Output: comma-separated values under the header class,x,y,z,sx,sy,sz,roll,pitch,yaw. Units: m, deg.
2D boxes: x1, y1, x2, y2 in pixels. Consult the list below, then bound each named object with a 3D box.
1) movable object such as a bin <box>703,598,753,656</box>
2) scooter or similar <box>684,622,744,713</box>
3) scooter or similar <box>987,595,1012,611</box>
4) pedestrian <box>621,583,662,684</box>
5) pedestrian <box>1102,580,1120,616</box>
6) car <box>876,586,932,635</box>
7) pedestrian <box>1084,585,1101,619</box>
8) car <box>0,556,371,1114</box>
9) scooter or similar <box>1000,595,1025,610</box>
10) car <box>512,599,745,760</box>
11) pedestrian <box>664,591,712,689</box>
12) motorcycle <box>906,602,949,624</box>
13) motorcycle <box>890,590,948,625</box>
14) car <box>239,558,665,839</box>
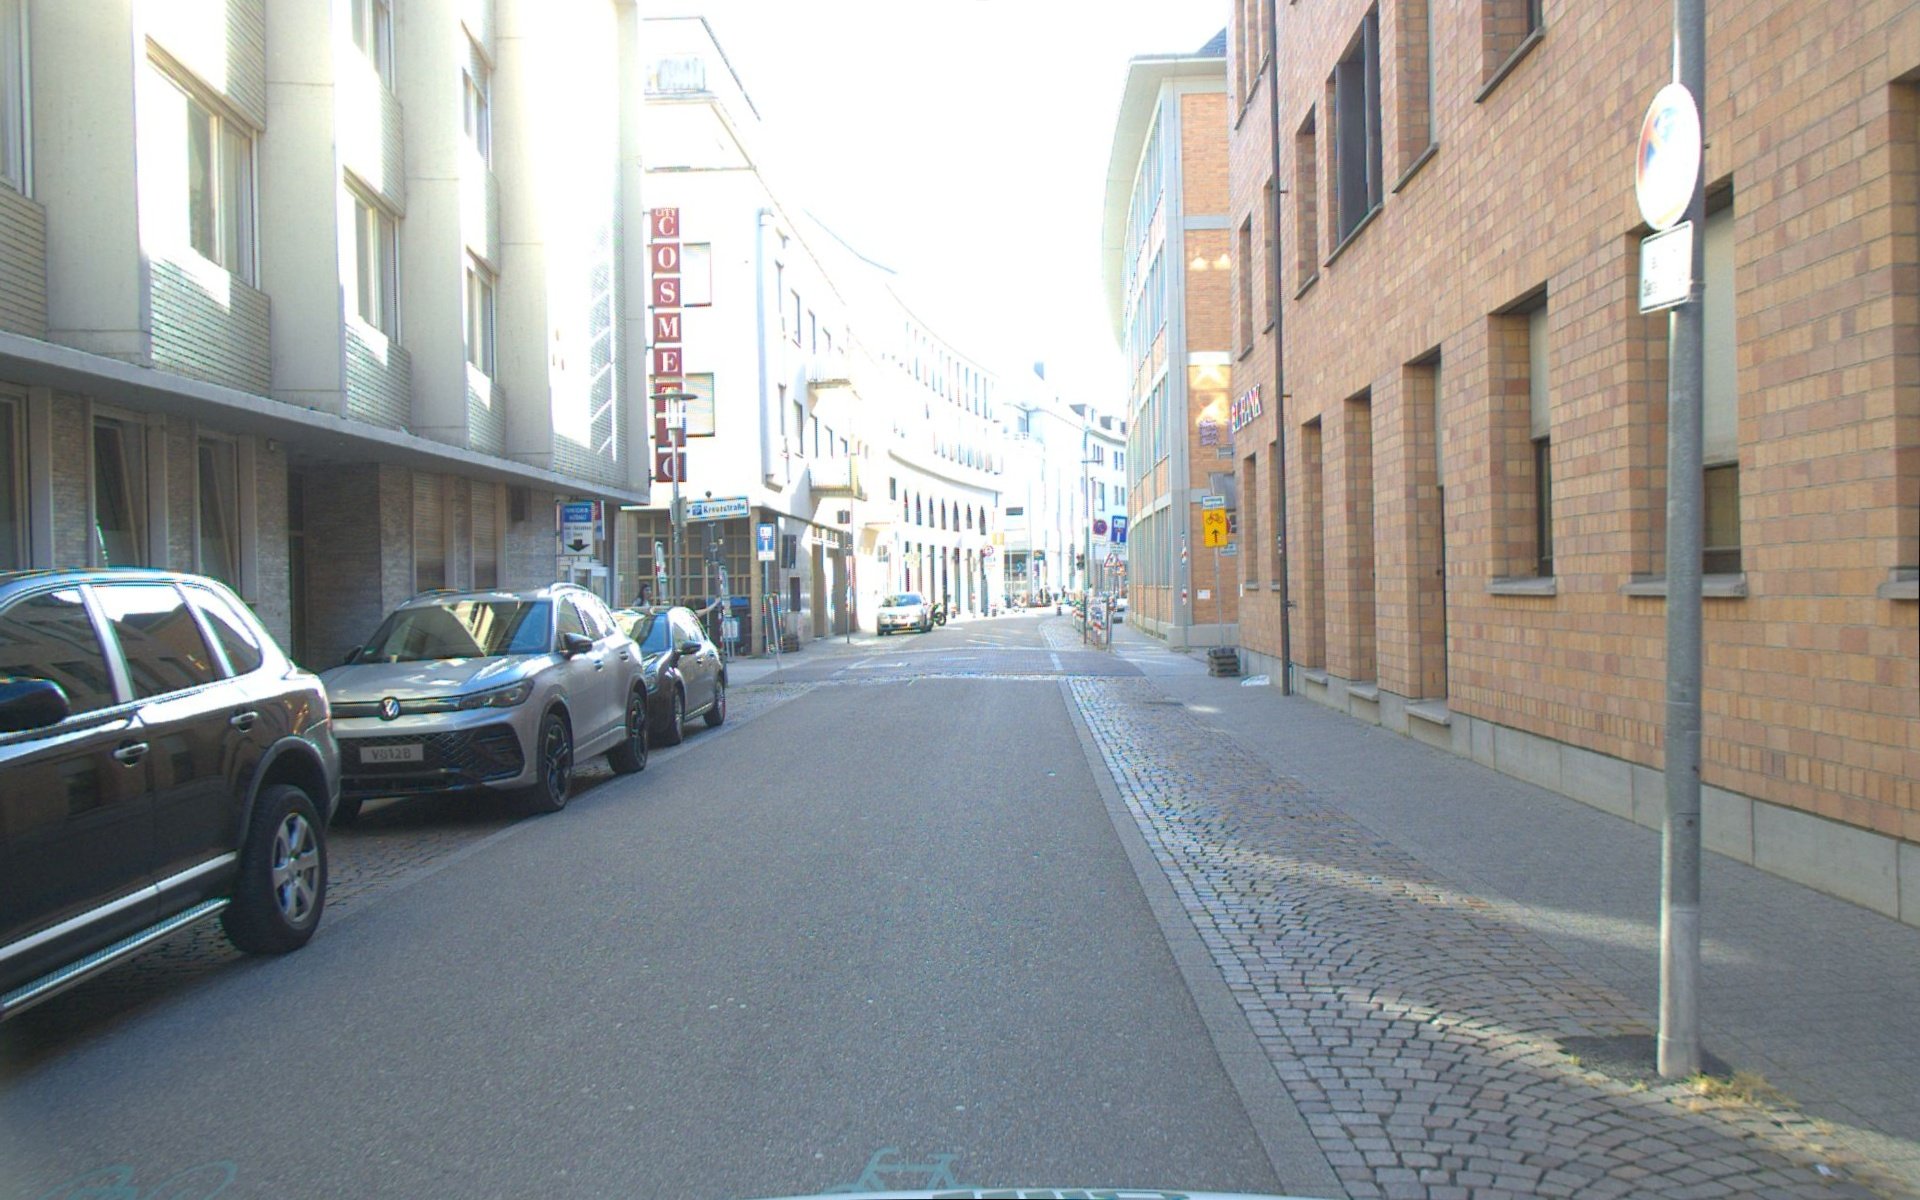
class,x,y,z,sx,sy,sz,roll,pitch,yaw
movable object such as a bin,-5.862,0.663,41.780,0.927,1.444,0.870,1,-1,-45
scooter or similar,-3.492,0.946,23.392,0.408,1.218,1.111,-6,1,-26
scooter or similar,2.423,0.174,101.322,0.515,0.944,2.222,0,1,32
pedestrian,-5.655,0.594,29.416,0.438,1.769,0.552,-1,0,25
pedestrian,7.879,-0.107,86.456,0.652,1.901,0.754,0,-1,-28
car,-1.959,0.356,58.711,1.700,1.634,3.534,-1,1,3
pedestrian,7.368,0.113,91.905,0.652,1.901,0.779,0,-1,-28
car,-3.864,0.745,5.722,1.851,1.705,4.555,-2,1,2
scooter or similar,3.343,0.144,104.696,0.515,0.944,2.222,0,1,32
car,-3.628,0.813,18.816,1.614,1.486,4.000,-4,0,2
pedestrian,-4.696,0.685,28.558,0.641,1.654,0.451,-2,0,-40
motorcycle,-1.295,0.508,66.251,1.655,0.874,0.595,0,0,7
motorcycle,-1.733,0.310,70.059,2.341,1.340,0.862,-3,0,2
car,-3.729,0.619,13.059,1.851,1.772,4.392,-2,1,1
